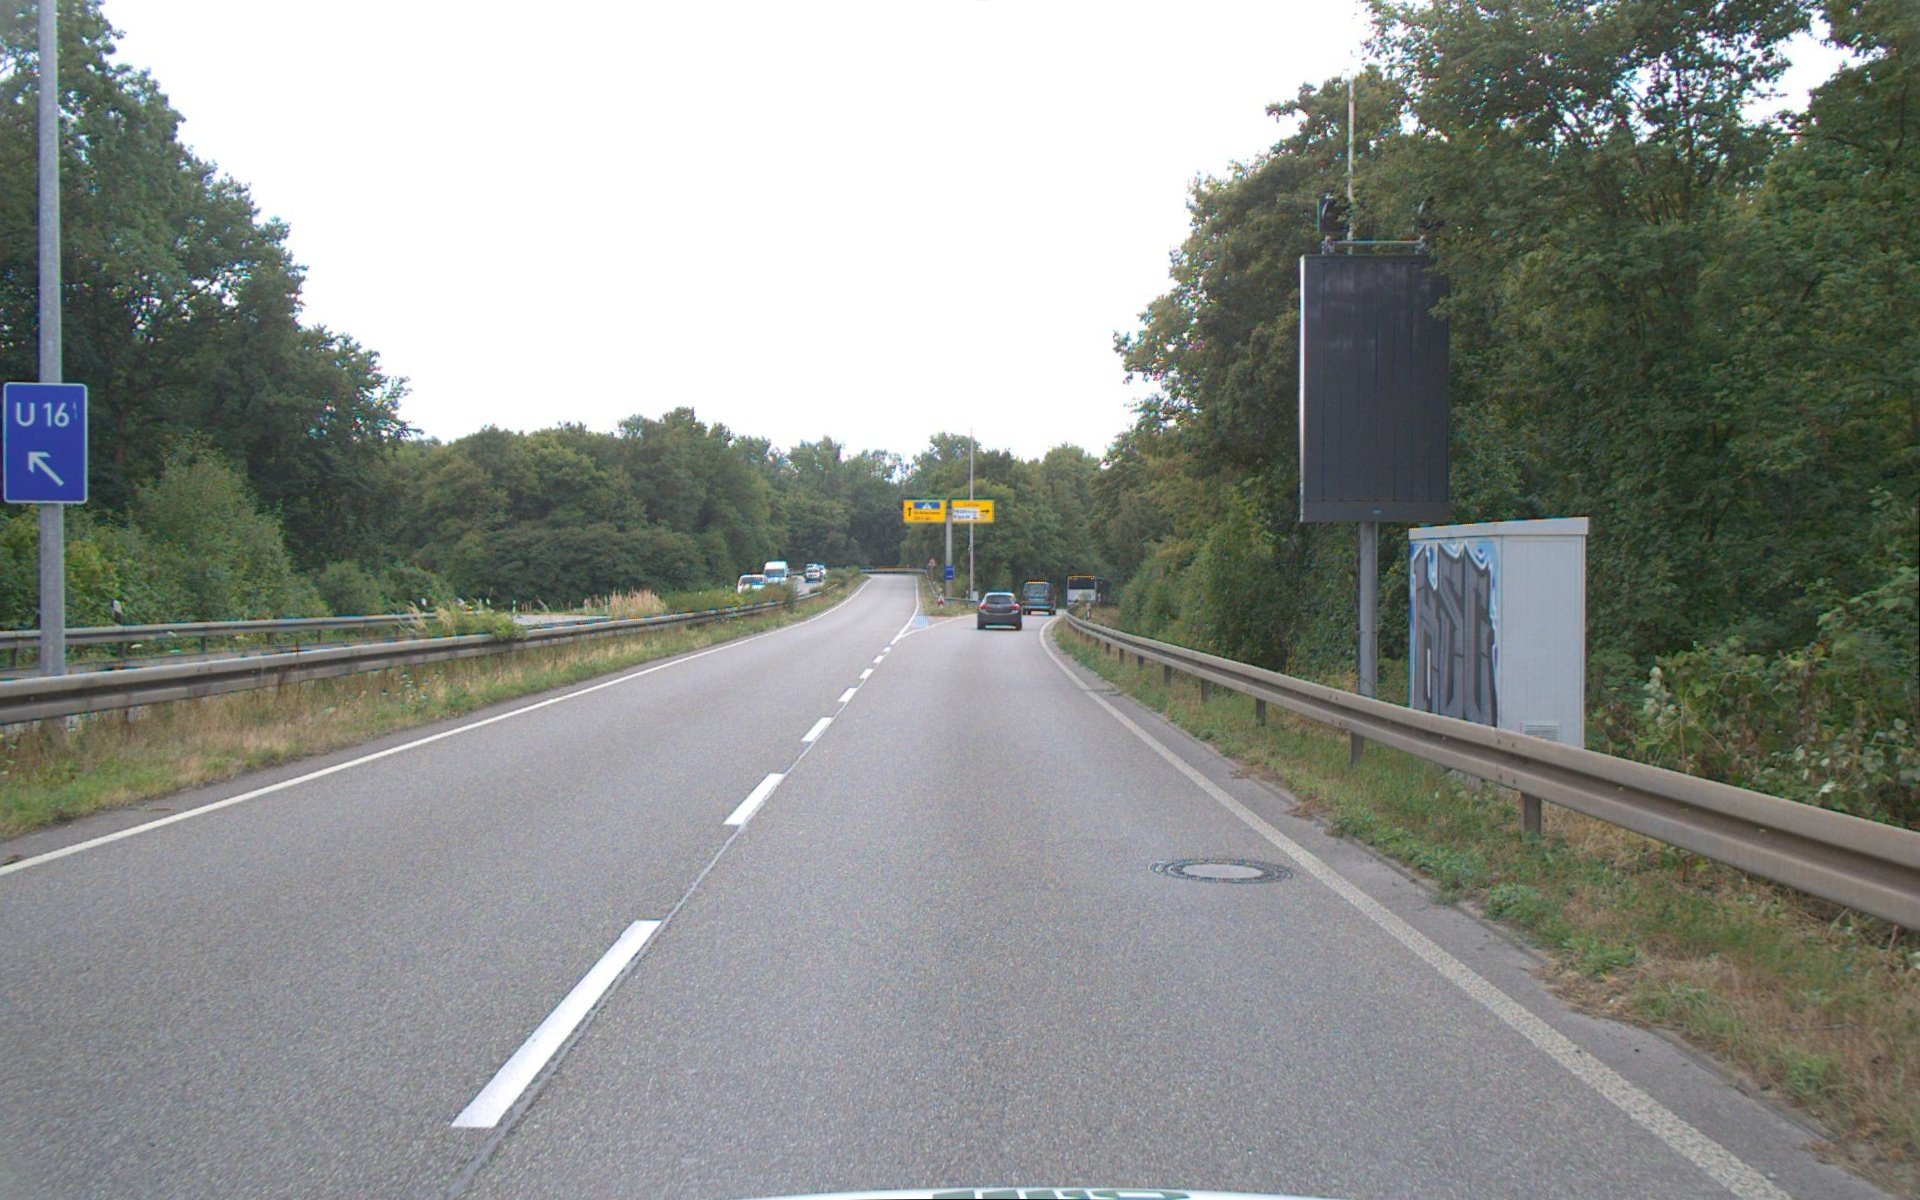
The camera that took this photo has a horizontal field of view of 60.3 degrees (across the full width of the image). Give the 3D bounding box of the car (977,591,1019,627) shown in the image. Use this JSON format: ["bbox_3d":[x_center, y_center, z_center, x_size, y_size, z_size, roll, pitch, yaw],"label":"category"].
[{"bbox_3d":[1.503,0.397,66.849,1.592,1.402,3.999,0,-1,0],"label":"car"}]

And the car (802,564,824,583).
[{"bbox_3d":[-15.873,-2.828,178.872,1.953,2.049,4.000,0,1,0],"label":"car"}]

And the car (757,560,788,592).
[{"bbox_3d":[-15.776,-2.052,139.409,2.075,2.637,5.040,0,1,0],"label":"car"}]

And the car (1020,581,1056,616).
[{"bbox_3d":[4.805,-0.070,101.626,2.103,2.049,4.002,0,-1,5],"label":"car"}]

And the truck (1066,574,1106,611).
[{"bbox_3d":[10.738,-0.587,140.199,2.917,2.935,7.996,0,-1,8],"label":"truck"}]

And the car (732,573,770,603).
[{"bbox_3d":[-13.671,-0.822,108.394,1.953,1.879,4.000,0,2,0],"label":"car"}]
